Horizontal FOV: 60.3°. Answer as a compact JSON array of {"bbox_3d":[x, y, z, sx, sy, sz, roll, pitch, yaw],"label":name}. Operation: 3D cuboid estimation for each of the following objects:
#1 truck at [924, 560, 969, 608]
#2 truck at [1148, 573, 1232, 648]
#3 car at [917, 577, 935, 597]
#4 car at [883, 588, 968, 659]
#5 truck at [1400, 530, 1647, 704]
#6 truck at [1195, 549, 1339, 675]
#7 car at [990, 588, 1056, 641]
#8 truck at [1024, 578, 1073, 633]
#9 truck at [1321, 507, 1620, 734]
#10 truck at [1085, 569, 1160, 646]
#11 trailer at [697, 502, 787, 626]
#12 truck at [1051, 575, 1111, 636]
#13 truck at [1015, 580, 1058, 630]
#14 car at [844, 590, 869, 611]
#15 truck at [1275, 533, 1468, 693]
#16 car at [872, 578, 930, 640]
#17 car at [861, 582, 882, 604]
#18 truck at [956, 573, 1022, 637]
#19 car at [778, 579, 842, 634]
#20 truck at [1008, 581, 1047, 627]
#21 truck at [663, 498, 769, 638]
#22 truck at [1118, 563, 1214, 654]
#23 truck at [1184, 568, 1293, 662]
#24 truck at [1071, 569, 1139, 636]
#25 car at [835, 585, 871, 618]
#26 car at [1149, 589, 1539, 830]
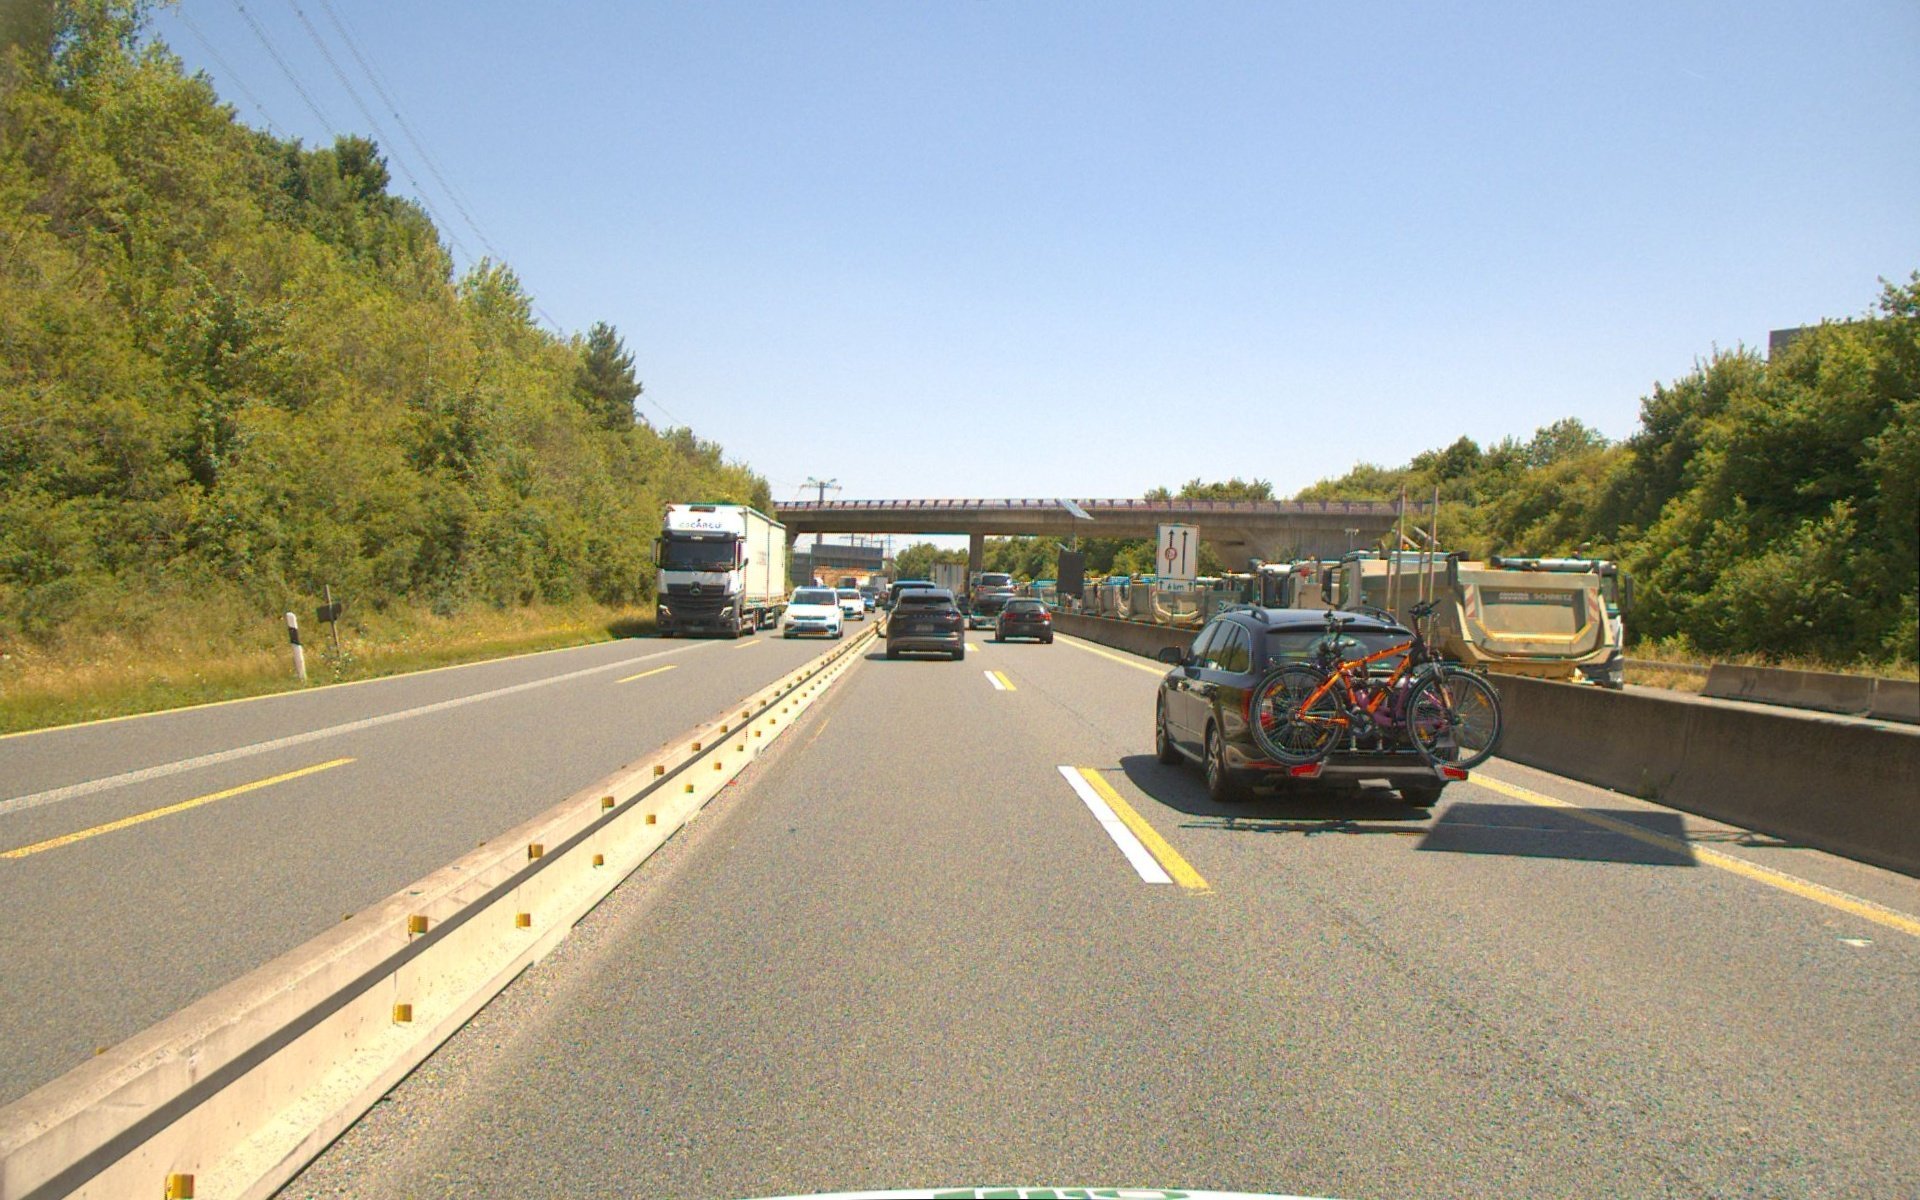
[{"bbox_3d":[-1.229,-1.372,142.562,3.227,3.912,10.102,1,0,-4],"label":"truck"},{"bbox_3d":[11.245,0.479,81.888,2.632,3.437,9.601,1,0,-1],"label":"truck"},{"bbox_3d":[-3.601,-1.373,177.539,1.861,2.003,4.275,1,0,-1],"label":"car"},{"bbox_3d":[-0.798,0.517,39.067,1.861,1.531,4.275,1,0,-1],"label":"car"},{"bbox_3d":[12.903,0.341,38.757,2.633,3.572,8.377,1,0,-2],"label":"truck"},{"bbox_3d":[9.656,0.324,53.156,2.487,3.619,9.599,1,0,-2],"label":"truck"},{"bbox_3d":[2.005,0.447,53.747,1.861,1.613,4.275,1,0,-1],"label":"car"},{"bbox_3d":[6.509,0.383,122.856,2.633,3.826,9.321,1,0,-2],"label":"truck"},{"bbox_3d":[9.155,0.312,30.998,2.482,3.572,9.093,1,0,-2],"label":"truck"},{"bbox_3d":[8.143,0.347,83.957,2.633,3.619,9.404,1,0,-1],"label":"truck"},{"bbox_3d":[-8.293,-1.316,63.805,2.585,4.388,8.443,2,0,-3],"label":"trailer"},{"bbox_3d":[7.551,0.307,104.358,2.633,3.619,9.320,1,0,-3],"label":"truck"},{"bbox_3d":[6.146,0.368,134.225,2.633,3.923,9.321,1,0,-2],"label":"truck"},{"bbox_3d":[-7.370,0.048,118.265,1.678,1.450,4.168,1,0,-2],"label":"car"},{"bbox_3d":[10.168,0.275,41.889,2.482,3.572,8.942,1,0,-1],"label":"truck"},{"bbox_3d":[-1.985,0.311,56.880,1.861,2.003,4.275,1,0,-1],"label":"car"},{"bbox_3d":[-8.670,-0.703,162.852,1.852,2.049,4.816,2,0,-1],"label":"car"},{"bbox_3d":[1.207,0.158,72.213,2.357,2.603,7.496,1,1,-3],"label":"truck"},{"bbox_3d":[-4.818,0.203,53.536,1.788,1.659,4.149,1,0,-2],"label":"car"},{"bbox_3d":[5.938,0.328,147.167,2.633,3.910,9.321,1,0,-2],"label":"truck"},{"bbox_3d":[-7.874,-0.985,54.417,2.362,4.061,10.346,2,0,-3],"label":"truck"},{"bbox_3d":[8.764,0.311,71.528,2.633,3.619,9.599,1,0,-2],"label":"truck"},{"bbox_3d":[11.555,0.564,69.621,2.633,3.619,9.599,1,0,-2],"label":"truck"},{"bbox_3d":[8.290,0.130,95.351,2.633,3.619,9.320,1,0,-3],"label":"truck"},{"bbox_3d":[-5.659,0.063,87.627,1.727,1.660,4.295,1,0,-2],"label":"car"},{"bbox_3d":[2.776,0.719,13.190,1.861,1.516,4.946,1,0,-1],"label":"car"}]
